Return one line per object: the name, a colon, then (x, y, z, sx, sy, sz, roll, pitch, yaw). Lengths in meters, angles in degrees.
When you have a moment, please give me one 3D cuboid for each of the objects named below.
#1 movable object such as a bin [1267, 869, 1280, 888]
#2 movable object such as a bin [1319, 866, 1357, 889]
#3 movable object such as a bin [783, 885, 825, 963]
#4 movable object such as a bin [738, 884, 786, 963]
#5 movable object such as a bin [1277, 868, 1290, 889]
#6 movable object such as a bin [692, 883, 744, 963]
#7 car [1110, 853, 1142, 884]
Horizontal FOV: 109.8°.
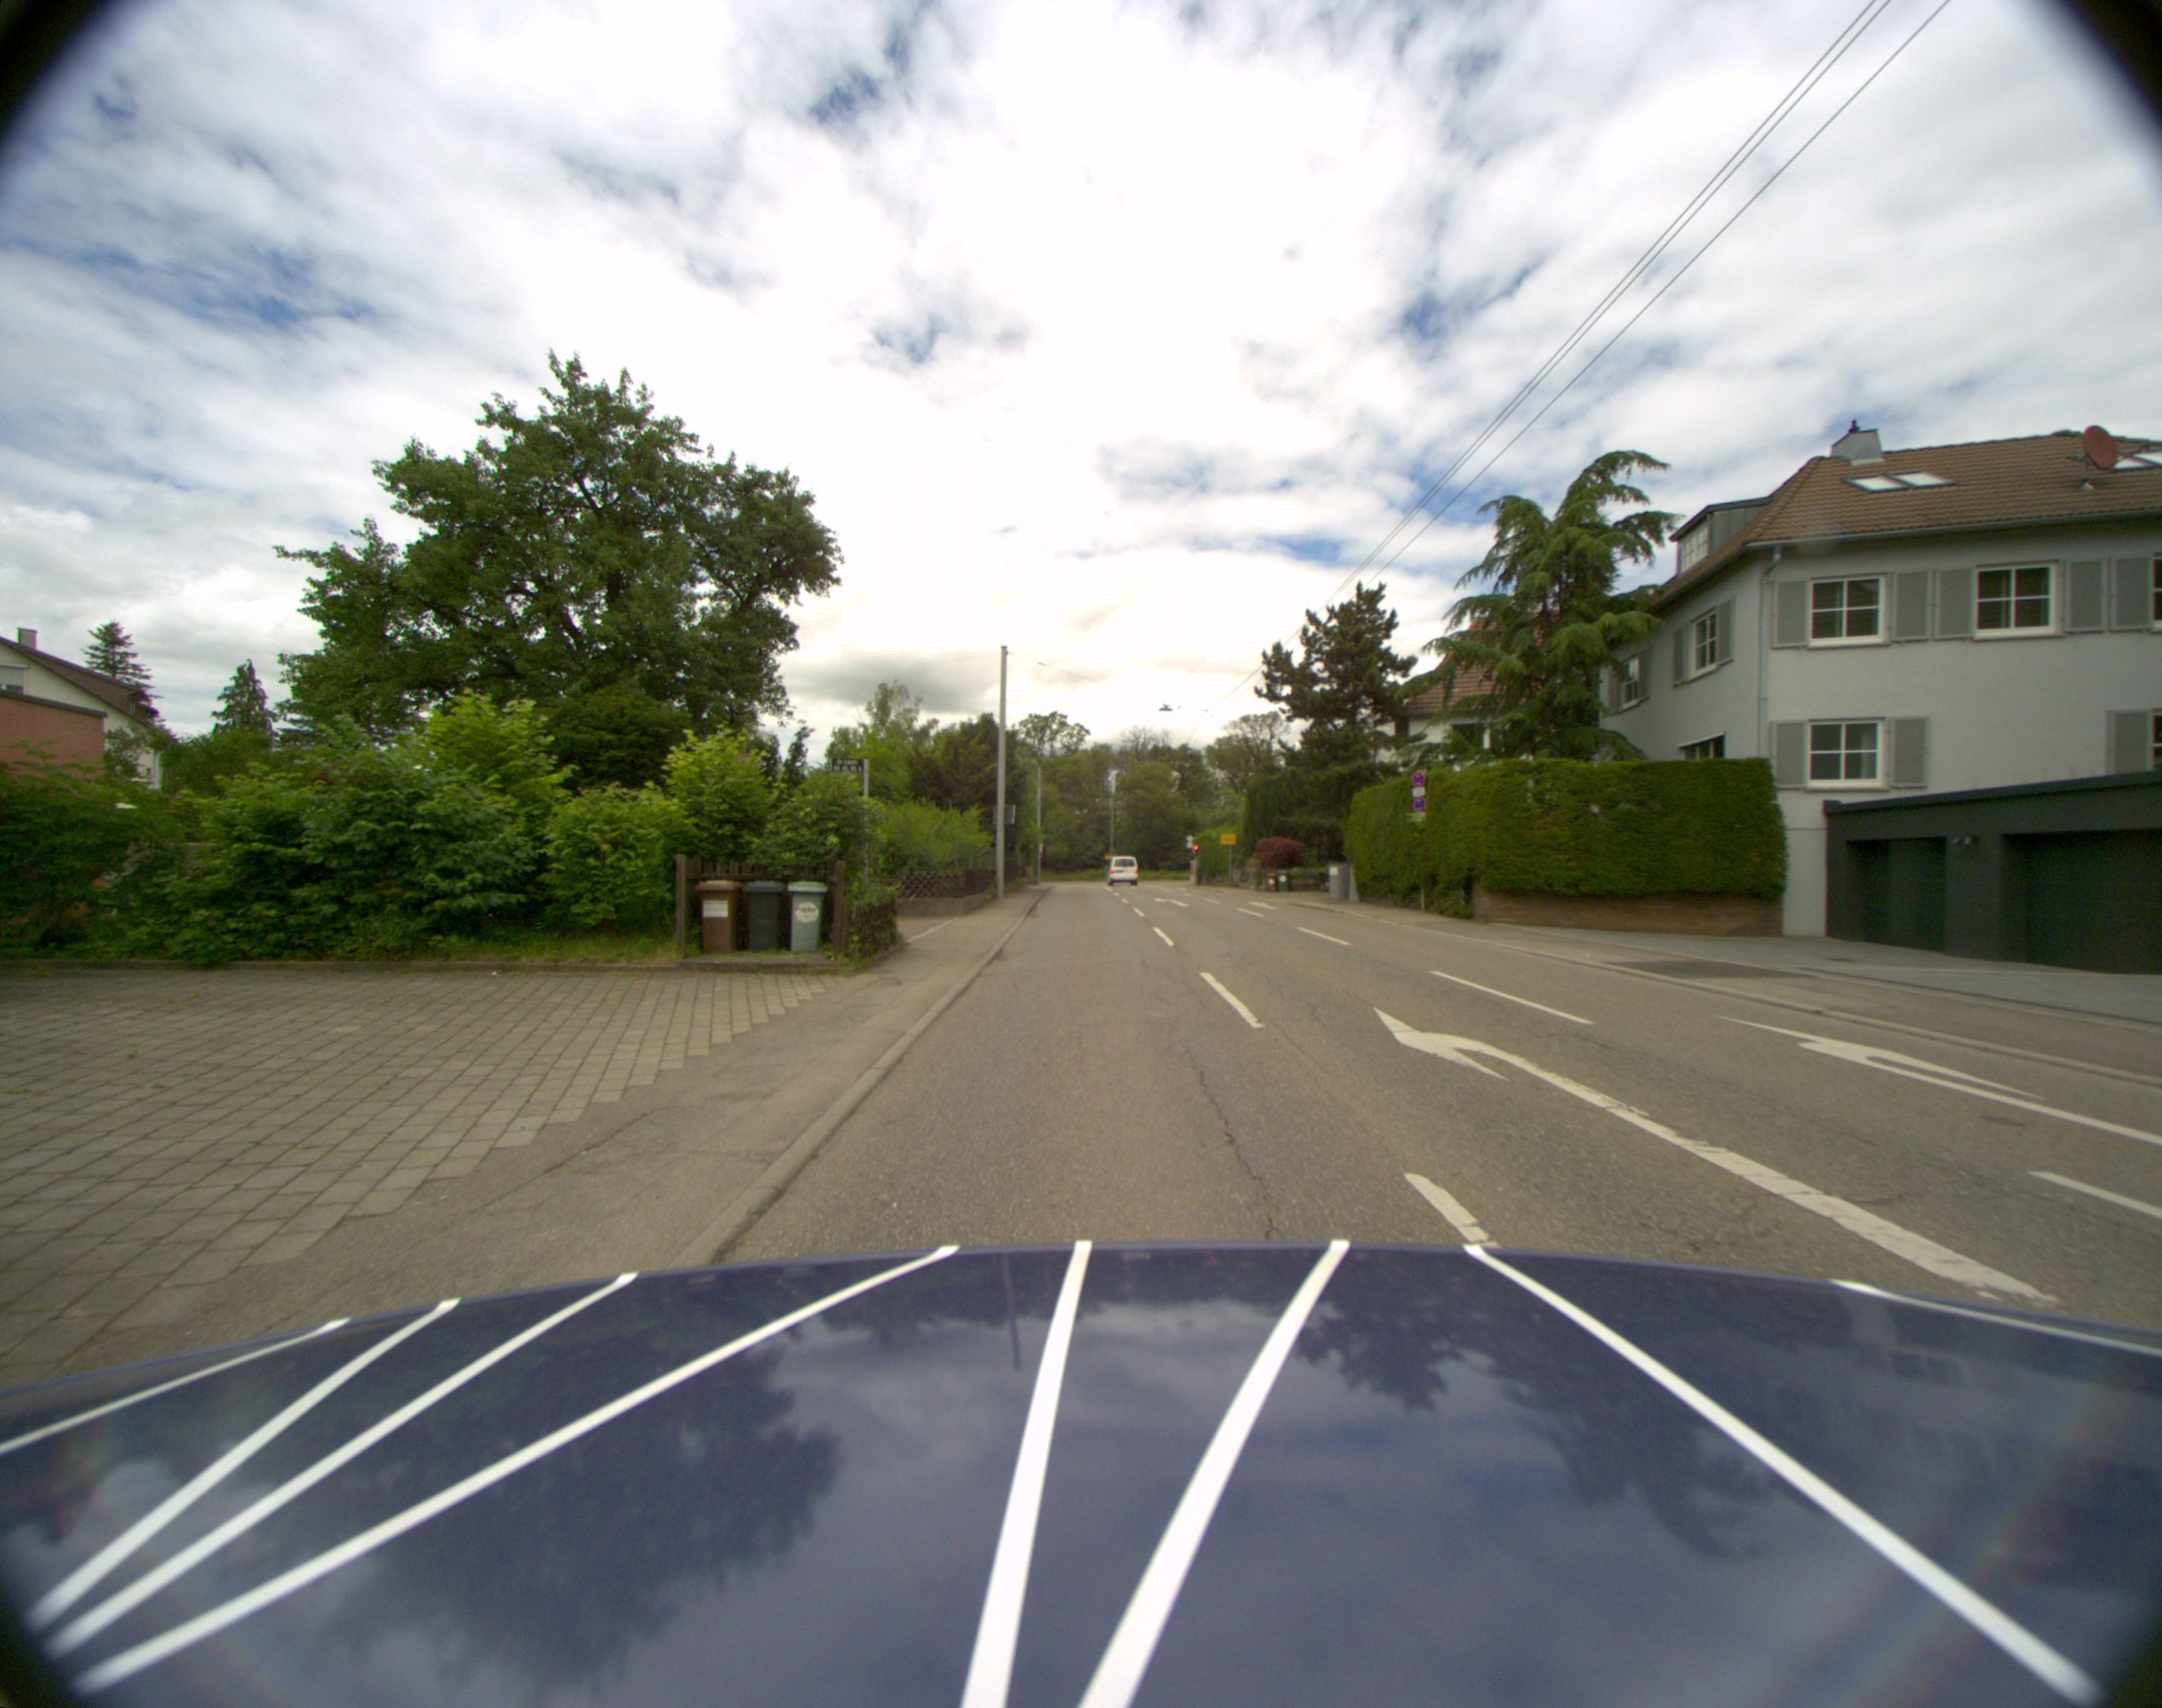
movable object such as a bin: (9.647, 1.205, 38.033, 0.464, 0.936, 0.648, -1, 0, 29)
movable object such as a bin: (12.271, 1.128, 36.305, 1.593, 1.074, 0.718, -1, 0, 31)
movable object such as a bin: (-3.641, 0.910, 9.990, 0.448, 0.950, 0.685, 3, 0, -20)
movable object such as a bin: (-4.112, 0.882, 9.825, 0.448, 0.950, 0.685, 3, 0, -16)
movable object such as a bin: (10.076, 1.231, 37.773, 0.479, 1.028, 0.717, -1, 0, 29)
movable object such as a bin: (-4.621, 0.866, 9.698, 0.448, 0.950, 0.685, 3, 0, -16)
car: (3.091, 1.010, 53.363, 1.863, 2.035, 5.172, 0, -1, 0)
